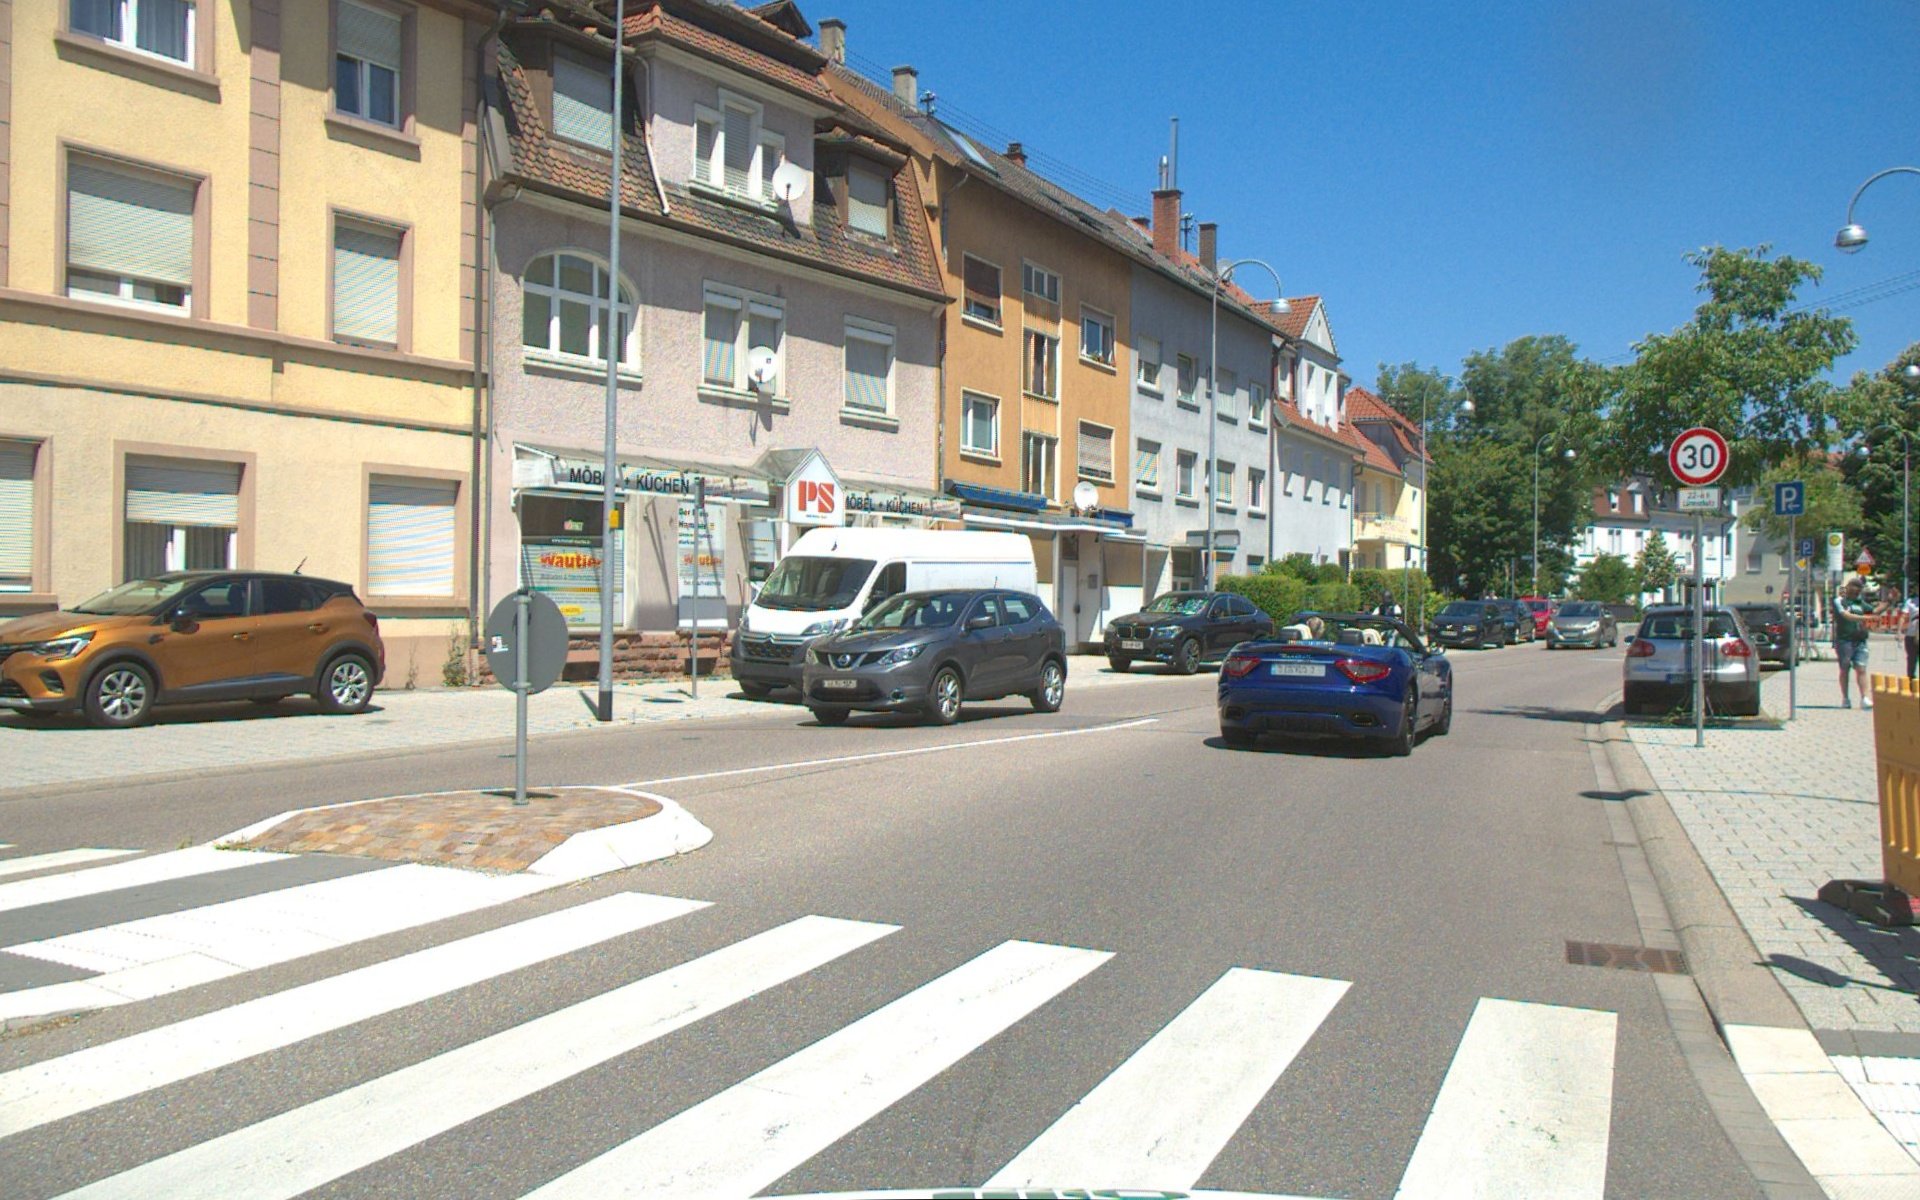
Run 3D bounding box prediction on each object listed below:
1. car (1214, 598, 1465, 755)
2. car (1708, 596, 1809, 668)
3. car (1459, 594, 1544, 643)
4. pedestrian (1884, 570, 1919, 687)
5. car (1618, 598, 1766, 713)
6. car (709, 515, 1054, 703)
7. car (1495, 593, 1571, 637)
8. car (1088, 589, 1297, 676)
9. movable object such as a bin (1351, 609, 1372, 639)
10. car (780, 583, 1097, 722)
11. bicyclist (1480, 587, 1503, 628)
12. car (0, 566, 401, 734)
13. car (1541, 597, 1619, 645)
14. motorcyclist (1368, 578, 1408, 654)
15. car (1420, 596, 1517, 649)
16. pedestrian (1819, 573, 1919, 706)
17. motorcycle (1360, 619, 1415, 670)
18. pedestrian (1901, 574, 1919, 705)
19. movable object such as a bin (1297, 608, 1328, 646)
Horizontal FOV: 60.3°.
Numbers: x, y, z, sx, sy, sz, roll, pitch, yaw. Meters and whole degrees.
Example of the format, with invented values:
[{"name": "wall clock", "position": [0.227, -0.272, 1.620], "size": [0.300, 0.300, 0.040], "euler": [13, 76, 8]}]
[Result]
[{"name": "car", "position": [4.157, 0.735, 17.546], "size": [1.833, 1.365, 4.594], "euler": [2, 0, 22]}, {"name": "car", "position": [18.619, 0.707, 38.460], "size": [1.799, 1.530, 5.055], "euler": [-2, -1, 29]}, {"name": "car", "position": [18.836, 0.604, 57.404], "size": [1.828, 1.487, 5.298], "euler": [3, 2, 29]}, {"name": "pedestrian", "position": [15.604, 0.461, 27.028], "size": [0.804, 1.886, 0.983], "euler": [0, -1, 26]}, {"name": "car", "position": [10.649, 0.767, 23.980], "size": [1.777, 1.503, 4.503], "euler": [-1, -1, 25]}, {"name": "car", "position": [-0.985, 0.099, 25.234], "size": [2.081, 2.492, 6.101], "euler": [2, 1, 32]}, {"name": "car", "position": [21.702, 0.534, 62.573], "size": [1.843, 1.505, 4.729], "euler": [4, 2, 29]}, {"name": "car", "position": [4.959, 0.615, 34.637], "size": [2.052, 1.642, 5.084], "euler": [2, 1, 38]}, {"name": "movable object such as a bin", "position": [12.803, 0.768, 52.690], "size": [0.485, 0.927, 0.705], "euler": [0, 0, 29]}, {"name": "car", "position": [-0.138, 0.620, 20.294], "size": [1.763, 1.515, 4.378], "euler": [-2, -2, 33]}, {"name": "bicyclist", "position": [21.741, 0.306, 67.690], "size": [0.767, 1.688, 0.834], "euler": [0, 0, 28]}, {"name": "car", "position": [-8.300, 0.454, 17.828], "size": [1.763, 1.568, 4.103], "euler": [2, 1, 33]}, {"name": "car", "position": [19.741, 0.648, 52.602], "size": [1.698, 1.436, 3.993], "euler": [-2, 0, 29]}, {"name": "motorcyclist", "position": [8.920, 0.328, 34.457], "size": [0.590, 1.551, 0.893], "euler": [0, 0, 31]}, {"name": "car", "position": [15.979, 0.664, 51.813], "size": [1.757, 1.484, 4.185], "euler": [4, 3, 33]}, {"name": "pedestrian", "position": [12.659, 0.549, 23.000], "size": [1.148, 1.763, 1.190], "euler": [-3, -2, 25]}, {"name": "motorcycle", "position": [8.910, 0.903, 34.425], "size": [0.595, 1.018, 1.795], "euler": [0, 0, 32]}, {"name": "pedestrian", "position": [13.981, 0.553, 23.645], "size": [0.772, 1.843, 1.005], "euler": [-2, -1, 26]}, {"name": "movable object such as a bin", "position": [9.846, 0.751, 46.202], "size": [0.660, 1.066, 0.651], "euler": [-1, 0, 29]}]
